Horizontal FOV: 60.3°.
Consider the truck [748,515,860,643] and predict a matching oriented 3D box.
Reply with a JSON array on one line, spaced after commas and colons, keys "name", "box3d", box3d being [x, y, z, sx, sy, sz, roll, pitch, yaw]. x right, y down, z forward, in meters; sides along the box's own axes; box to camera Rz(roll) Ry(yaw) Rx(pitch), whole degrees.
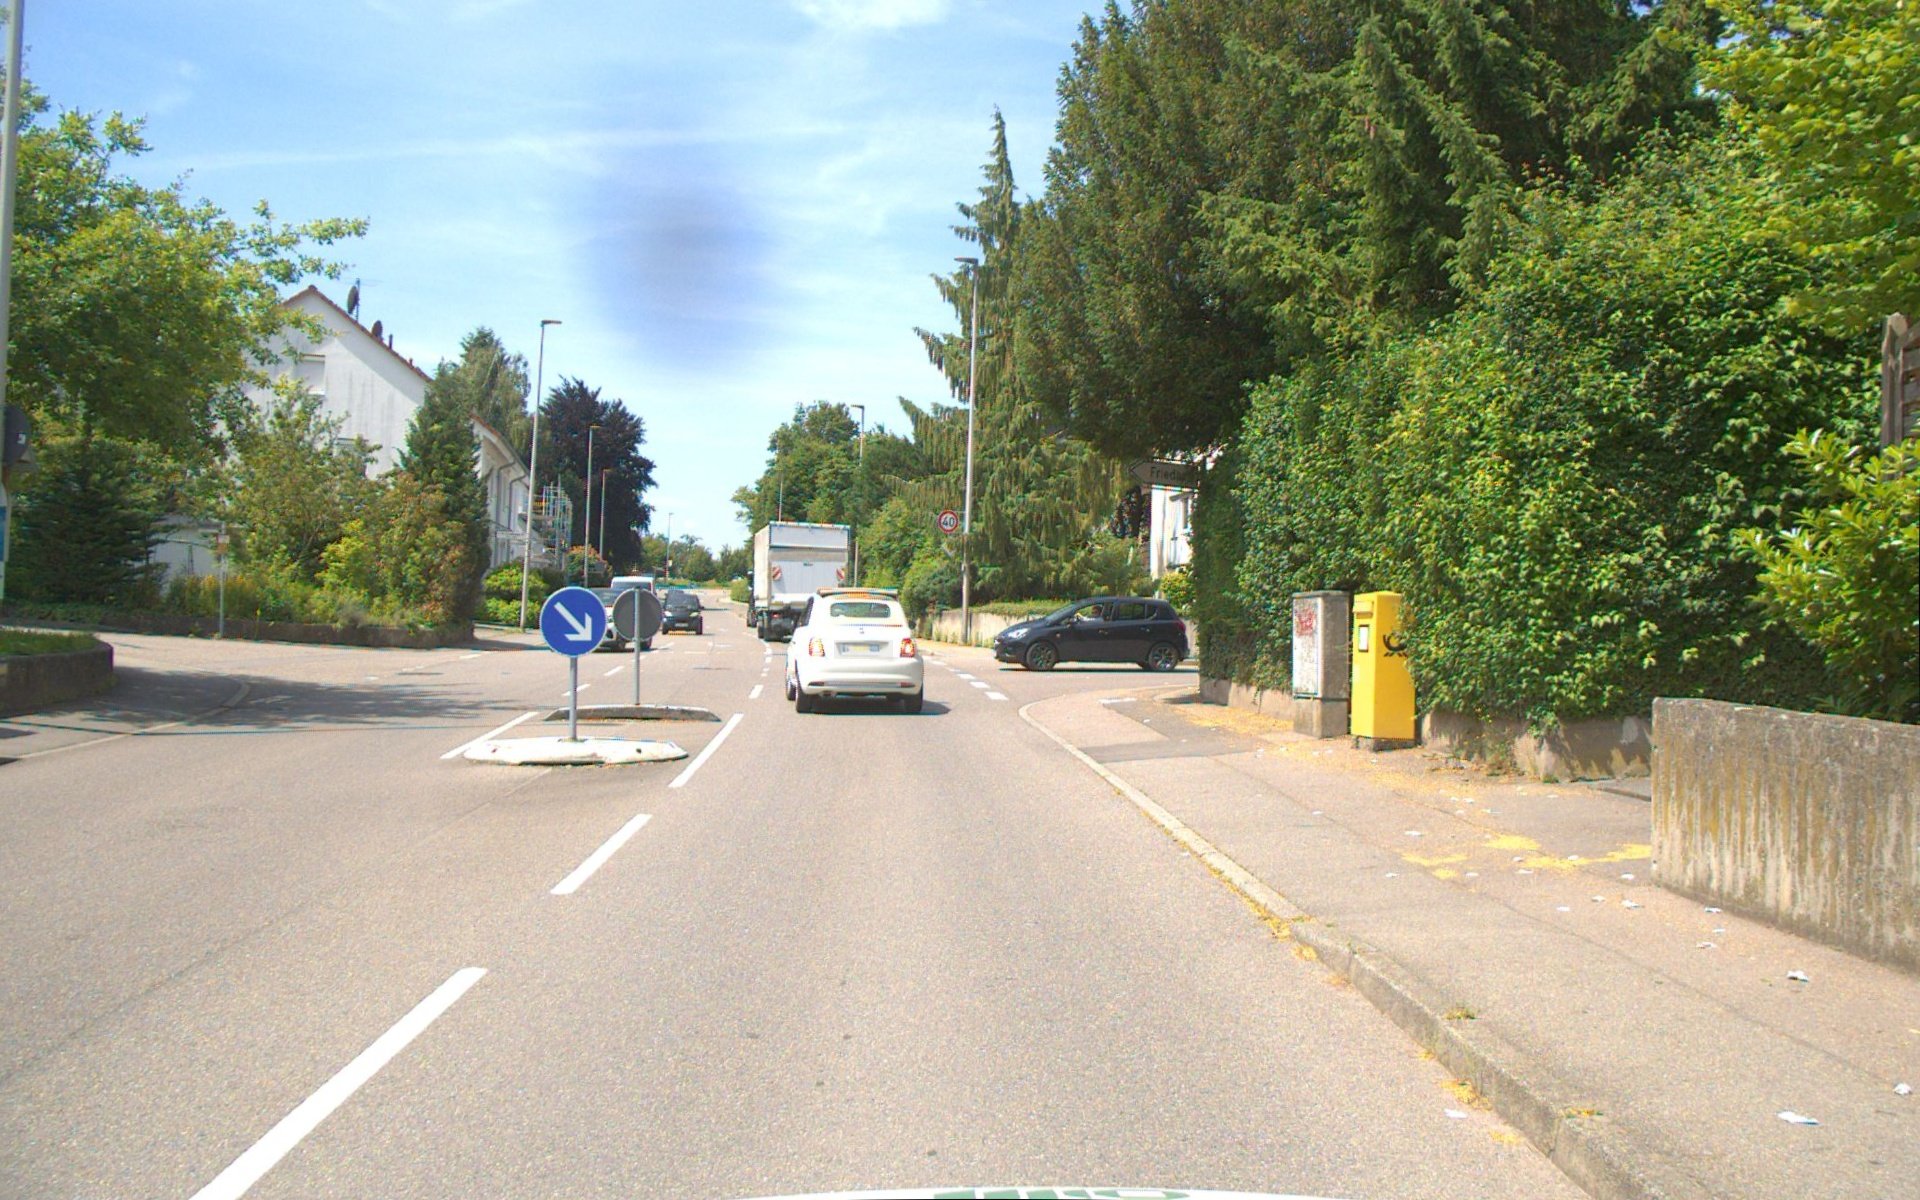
[{"name": "truck", "box3d": [-5.263, -0.621, 54.490, 3.013, 3.840, 7.848, 1, 0, -10]}]

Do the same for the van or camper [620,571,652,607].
[{"name": "van or camper", "box3d": [-28.631, -0.968, 146.186, 2.222, 3.014, 5.879, 3, 0, -7]}]

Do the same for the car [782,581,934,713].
[{"name": "car", "box3d": [-1.442, 0.562, 22.005, 1.693, 1.587, 3.992, 0, 0, -8]}]

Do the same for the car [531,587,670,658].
[{"name": "car", "box3d": [-8.976, 0.604, 41.651, 1.745, 1.556, 4.173, 4, -1, 12]}]

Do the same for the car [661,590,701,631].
[{"name": "car", "box3d": [-10.783, 0.403, 63.976, 1.452, 1.537, 2.795, 0, 0, -8]}]

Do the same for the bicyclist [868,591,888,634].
[{"name": "bicyclist", "box3d": [-2.827, 0.438, 57.097, 0.577, 1.437, 0.740, 3, 0, -9]}]

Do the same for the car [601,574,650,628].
[{"name": "car", "box3d": [-14.590, 0.026, 72.377, 2.000, 2.238, 5.568, 1, 0, -11]}]

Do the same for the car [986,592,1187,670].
[{"name": "car", "box3d": [2.532, 0.613, 33.582, 3.857, 1.483, 1.657, 1, 0, -5]}]

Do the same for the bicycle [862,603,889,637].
[{"name": "bicycle", "box3d": [-2.938, 0.666, 57.288, 0.656, 1.123, 2.420, 2, 0, -9]}]
